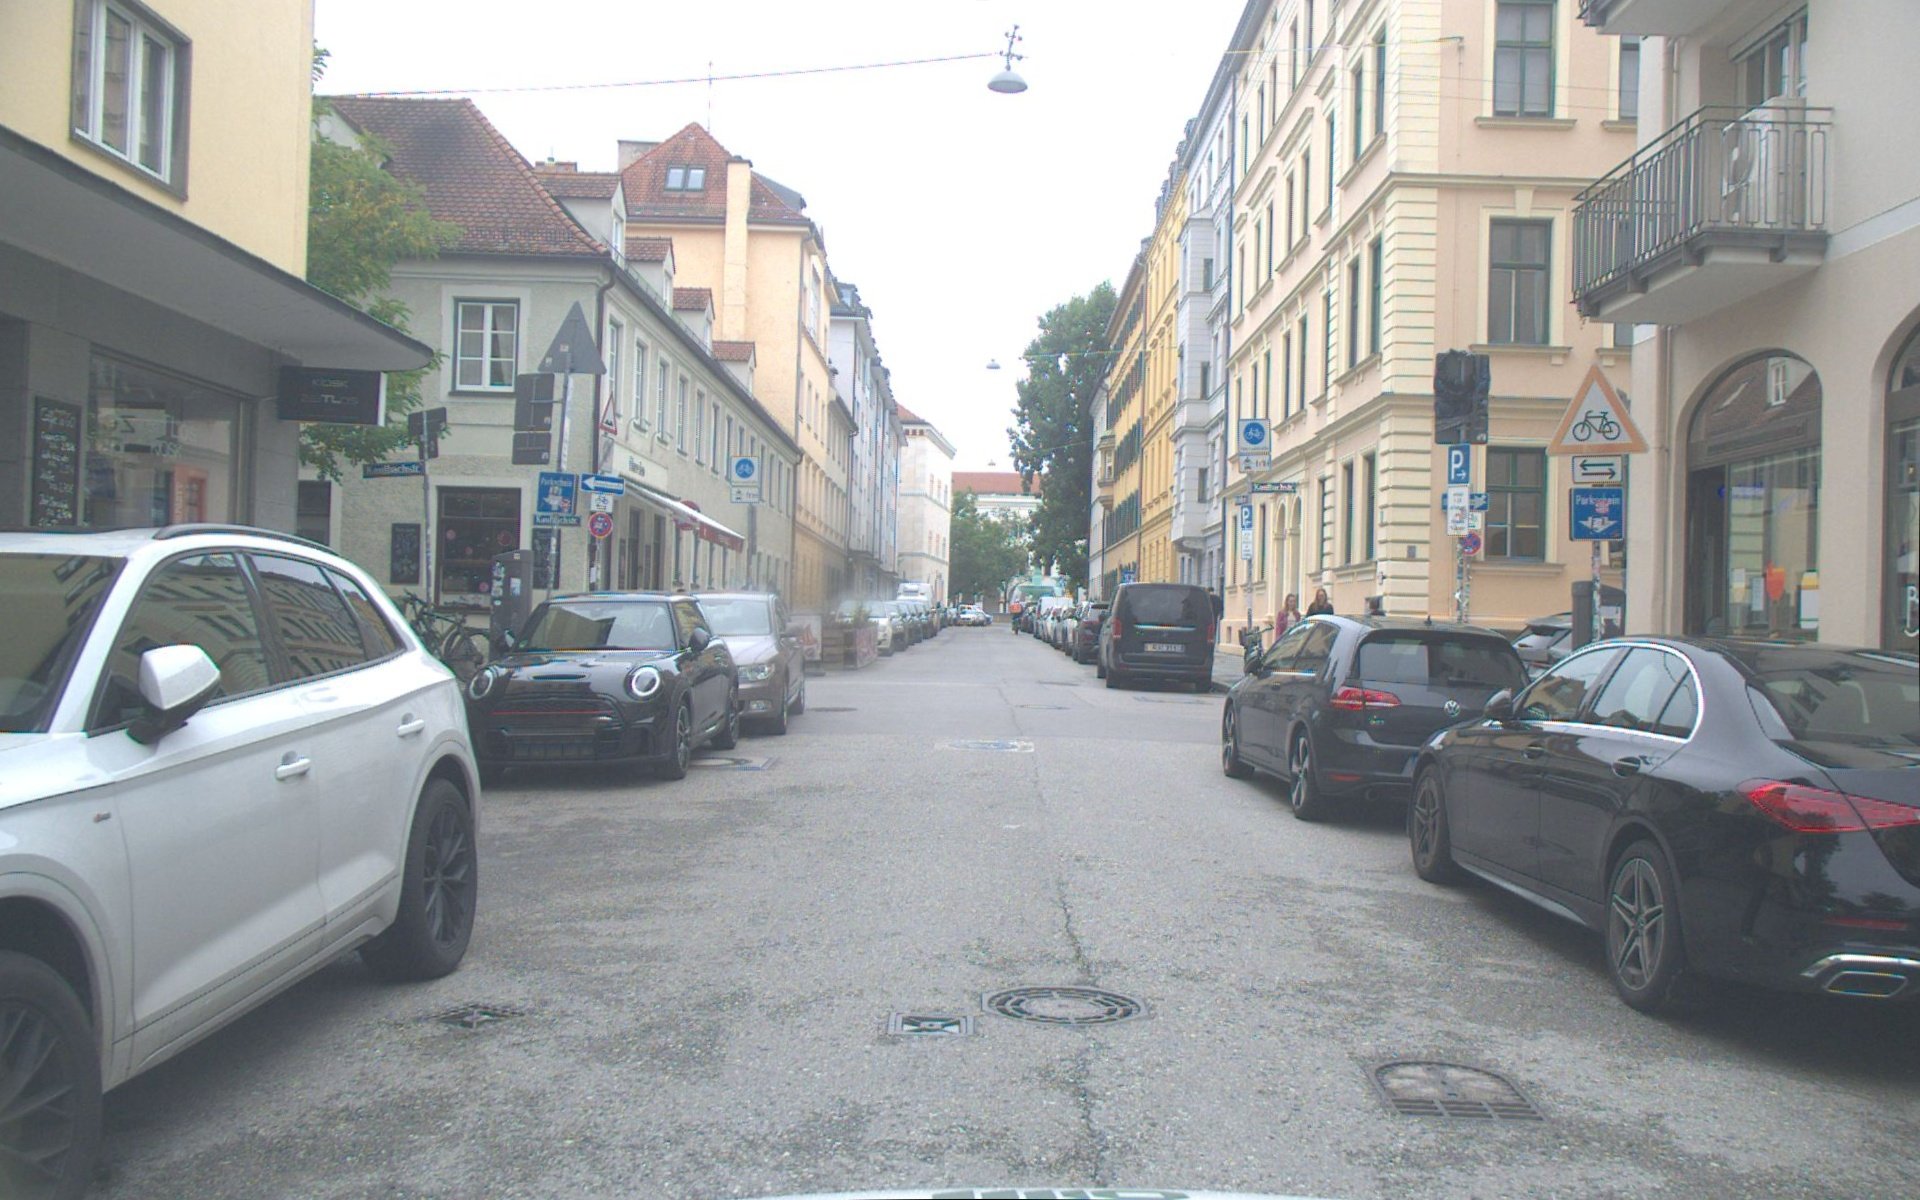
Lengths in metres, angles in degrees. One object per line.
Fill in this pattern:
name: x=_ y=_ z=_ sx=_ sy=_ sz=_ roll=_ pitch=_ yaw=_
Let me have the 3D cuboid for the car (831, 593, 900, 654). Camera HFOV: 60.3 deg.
car: x=-2.498 y=0.600 z=44.256 sx=1.719 sy=1.501 sz=3.712 roll=2 pitch=0 yaw=-2

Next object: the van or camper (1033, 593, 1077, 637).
van or camper: x=4.344 y=0.673 z=76.169 sx=1.796 sy=1.904 sz=5.079 roll=2 pitch=0 yaw=1

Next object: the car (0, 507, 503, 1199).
car: x=-2.757 y=0.599 z=4.498 sx=1.765 sy=1.611 sz=4.339 roll=0 pitch=1 yaw=1

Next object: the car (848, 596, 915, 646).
car: x=-2.317 y=0.597 z=49.581 sx=1.761 sy=1.362 sz=4.685 roll=2 pitch=0 yaw=0

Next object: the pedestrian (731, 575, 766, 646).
pedestrian: x=-5.830 y=0.302 z=45.570 sx=0.806 sy=1.931 sz=0.827 roll=1 pitch=-2 yaw=0

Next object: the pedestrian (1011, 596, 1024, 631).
pedestrian: x=2.901 y=0.694 z=84.139 sx=0.629 sy=1.744 sz=0.843 roll=1 pitch=-2 yaw=1

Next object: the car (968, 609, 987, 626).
car: x=1.673 y=1.660 z=158.337 sx=1.671 sy=1.609 sz=3.864 roll=0 pitch=-1 yaw=3

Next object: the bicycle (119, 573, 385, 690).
bicycle: x=-8.429 y=0.377 z=19.750 sx=2.783 sy=1.233 sz=0.818 roll=3 pitch=-2 yaw=3

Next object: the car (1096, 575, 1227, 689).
car: x=3.682 y=0.558 z=31.058 sx=1.956 sy=1.897 sz=5.254 roll=2 pitch=0 yaw=2

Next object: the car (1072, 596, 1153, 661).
car: x=3.862 y=0.710 z=42.341 sx=1.718 sy=1.547 sz=4.275 roll=2 pitch=-1 yaw=1

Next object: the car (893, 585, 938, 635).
car: x=-1.927 y=0.442 z=70.586 sx=1.720 sy=2.030 sz=4.622 roll=2 pitch=-1 yaw=-3

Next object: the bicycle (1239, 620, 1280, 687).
bicycle: x=5.305 y=0.935 z=29.340 sx=0.455 sy=1.071 sz=1.730 roll=-1 pitch=2 yaw=2

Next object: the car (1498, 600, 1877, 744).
car: x=9.108 y=0.877 z=20.927 sx=4.005 sy=1.633 sz=1.755 roll=1 pitch=1 yaw=-1

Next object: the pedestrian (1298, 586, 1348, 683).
pedestrian: x=6.357 y=0.603 z=28.970 sx=0.645 sy=1.649 sz=0.979 roll=1 pitch=-2 yaw=0

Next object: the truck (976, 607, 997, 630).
truck: x=2.795 y=1.987 z=173.477 sx=2.077 sy=2.287 sz=6.185 roll=1 pitch=-1 yaw=1

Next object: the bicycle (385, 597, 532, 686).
bicycle: x=-6.619 y=0.538 z=21.831 sx=1.780 sy=1.053 sz=0.392 roll=3 pitch=0 yaw=3

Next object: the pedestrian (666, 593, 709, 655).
pedestrian: x=-5.851 y=0.522 z=35.546 sx=0.786 sy=1.313 sz=0.693 roll=1 pitch=-2 yaw=1

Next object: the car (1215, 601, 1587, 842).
car: x=3.238 y=0.805 z=13.006 sx=1.642 sy=1.449 sz=4.202 roll=4 pitch=0 yaw=-1

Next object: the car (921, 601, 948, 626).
car: x=-1.679 y=0.912 z=109.844 sx=1.671 sy=1.638 sz=3.862 roll=0 pitch=-1 yaw=0

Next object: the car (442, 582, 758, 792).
car: x=-2.833 y=0.624 z=13.894 sx=1.644 sy=1.497 sz=4.098 roll=0 pitch=0 yaw=2

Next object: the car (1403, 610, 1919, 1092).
car: x=3.479 y=0.850 z=7.511 sx=1.612 sy=1.449 sz=4.509 roll=4 pitch=0 yaw=-1

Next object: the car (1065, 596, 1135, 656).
car: x=4.010 y=0.726 z=47.893 sx=1.707 sy=1.611 sz=4.467 roll=2 pitch=-1 yaw=1

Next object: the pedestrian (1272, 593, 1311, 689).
pedestrian: x=5.797 y=0.718 z=28.945 sx=0.462 sy=1.653 sz=1.069 roll=1 pitch=-2 yaw=0

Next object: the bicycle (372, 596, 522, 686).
bicycle: x=-6.642 y=0.527 z=21.427 sx=1.780 sy=1.053 sz=0.392 roll=3 pitch=0 yaw=3

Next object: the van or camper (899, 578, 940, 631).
van or camper: x=-1.838 y=0.227 z=75.994 sx=1.719 sy=2.321 sz=5.272 roll=2 pitch=-1 yaw=0

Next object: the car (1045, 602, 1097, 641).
car: x=4.434 y=0.865 z=66.554 sx=1.673 sy=1.480 sz=4.095 roll=2 pitch=-1 yaw=-1

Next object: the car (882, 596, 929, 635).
car: x=-2.125 y=0.620 z=65.623 sx=1.719 sy=1.433 sz=4.102 roll=2 pitch=-1 yaw=-1

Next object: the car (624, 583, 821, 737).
car: x=-2.522 y=0.581 z=18.588 sx=1.645 sy=1.497 sz=4.948 roll=0 pitch=0 yaw=-2

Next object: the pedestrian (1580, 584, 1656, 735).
pedestrian: x=7.467 y=0.674 z=18.781 sx=0.622 sy=1.676 sz=0.526 roll=1 pitch=-2 yaw=-8

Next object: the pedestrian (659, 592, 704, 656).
pedestrian: x=-5.852 y=0.513 z=34.822 sx=0.786 sy=1.312 sz=0.693 roll=1 pitch=-2 yaw=1

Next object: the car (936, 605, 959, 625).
car: x=-1.036 y=1.227 z=137.596 sx=1.671 sy=1.638 sz=3.864 roll=0 pitch=-1 yaw=3

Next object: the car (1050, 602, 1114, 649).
car: x=3.940 y=0.827 z=54.000 sx=1.673 sy=1.429 sz=4.206 roll=2 pitch=-1 yaw=-1

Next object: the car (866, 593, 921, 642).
car: x=-2.214 y=0.583 z=55.415 sx=1.719 sy=1.522 sz=4.199 roll=2 pitch=-1 yaw=-2

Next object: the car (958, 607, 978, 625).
car: x=0.757 y=1.477 z=152.214 sx=1.671 sy=1.609 sz=3.864 roll=0 pitch=-1 yaw=3

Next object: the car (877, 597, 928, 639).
car: x=-2.136 y=0.628 z=60.586 sx=1.780 sy=1.467 sz=4.129 roll=0 pitch=0 yaw=-3

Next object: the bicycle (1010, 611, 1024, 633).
bicycle: x=2.890 y=1.123 z=84.118 sx=0.661 sy=1.114 sz=1.760 roll=1 pitch=-2 yaw=2

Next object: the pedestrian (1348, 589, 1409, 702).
pedestrian: x=6.654 y=0.728 z=26.356 sx=0.704 sy=1.747 sz=1.003 roll=1 pitch=-2 yaw=0

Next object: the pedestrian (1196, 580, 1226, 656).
pedestrian: x=6.823 y=0.487 z=44.946 sx=0.655 sy=2.015 sz=0.708 roll=-2 pitch=-2 yaw=1

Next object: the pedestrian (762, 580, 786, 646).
pedestrian: x=-5.121 y=0.368 z=45.578 sx=0.517 sy=1.813 sz=0.877 roll=1 pitch=-2 yaw=1
